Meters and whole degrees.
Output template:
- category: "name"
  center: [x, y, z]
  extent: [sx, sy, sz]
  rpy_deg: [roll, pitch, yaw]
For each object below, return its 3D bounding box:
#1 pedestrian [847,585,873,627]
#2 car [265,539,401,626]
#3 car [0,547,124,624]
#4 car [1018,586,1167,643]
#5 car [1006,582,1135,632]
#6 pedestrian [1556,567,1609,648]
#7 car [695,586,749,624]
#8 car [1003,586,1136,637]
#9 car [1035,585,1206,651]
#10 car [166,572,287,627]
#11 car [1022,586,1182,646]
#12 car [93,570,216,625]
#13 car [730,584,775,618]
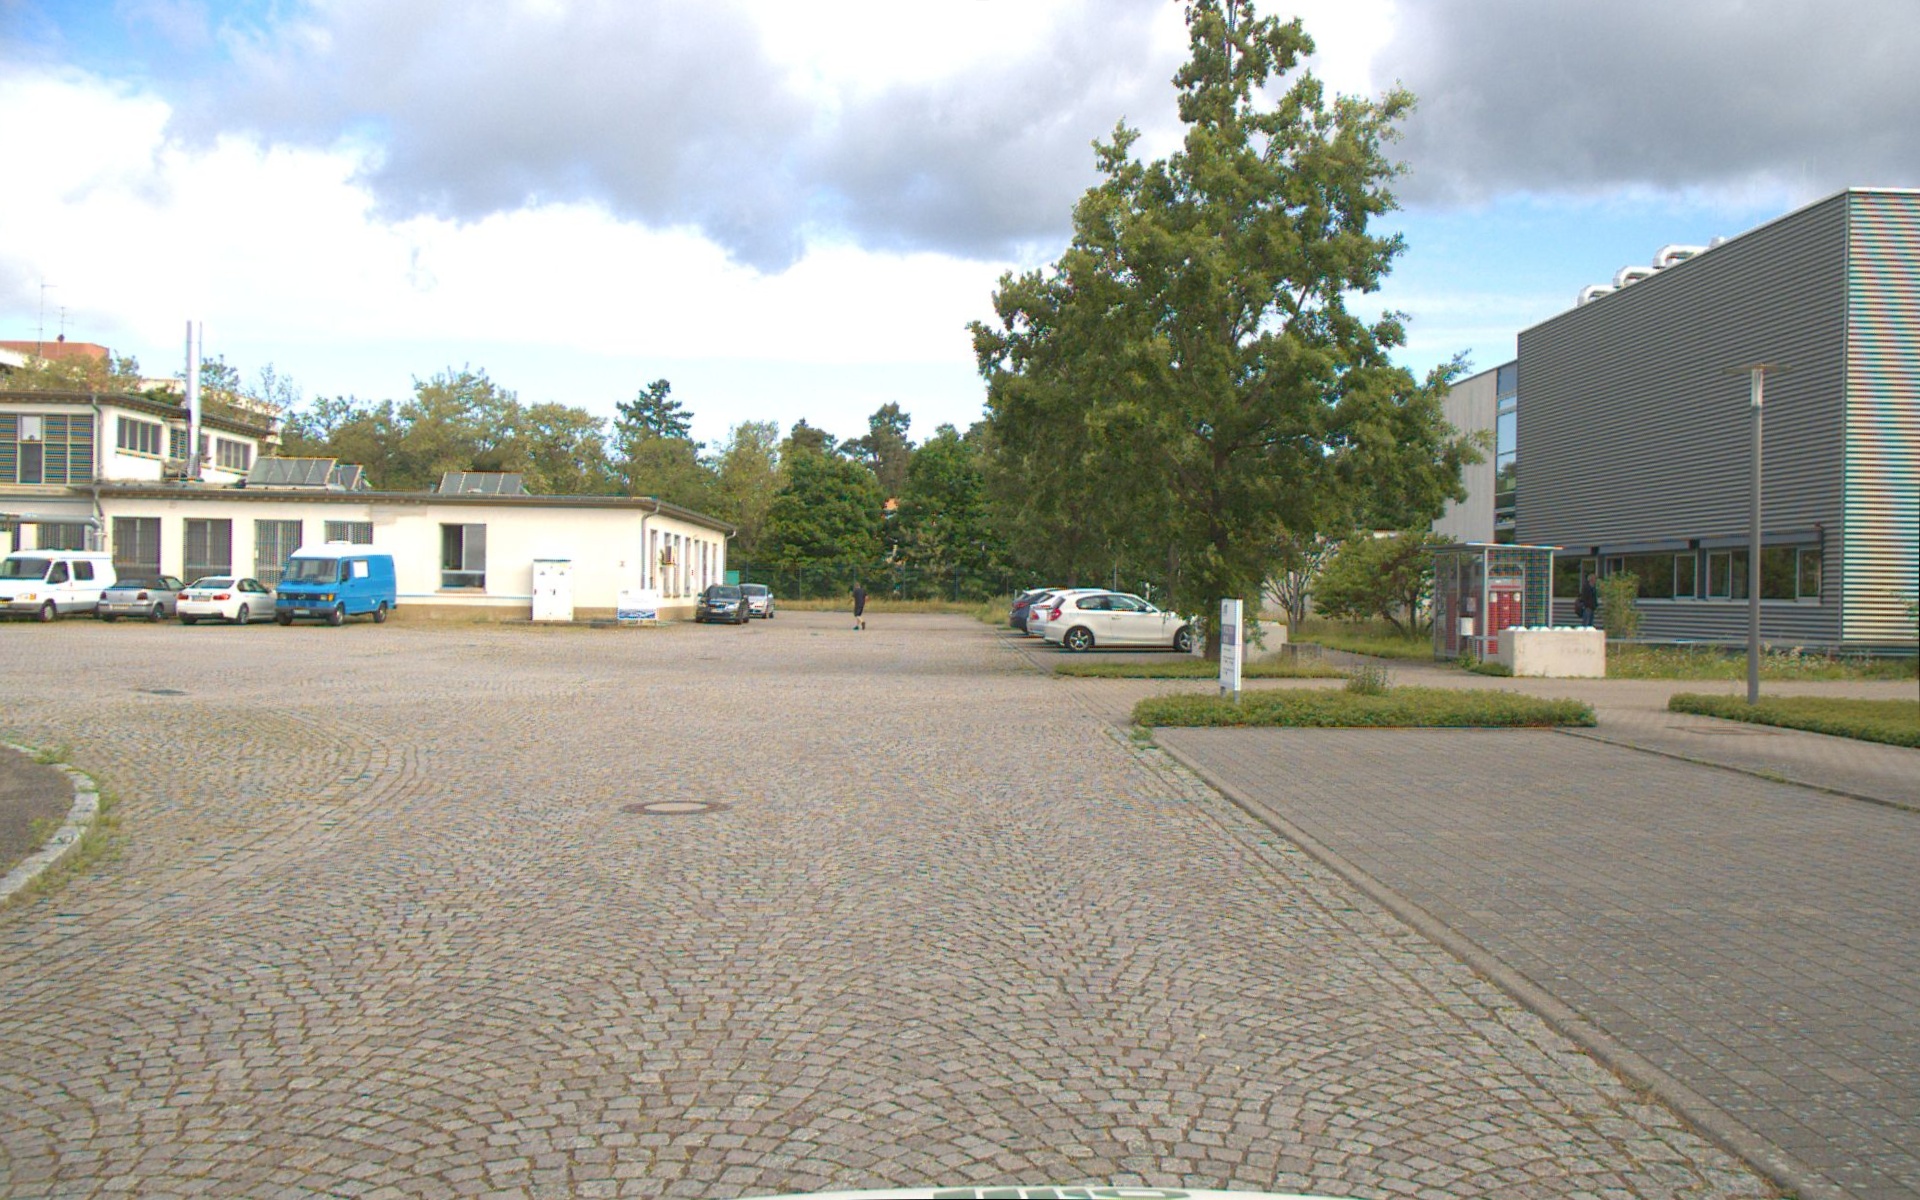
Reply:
- category: "pedestrian"
  center: [-3.793, 0.220, 62.675]
  extent: [0.921, 1.595, 0.971]
  rpy_deg: [0, 0, -2]
- category: "car"
  center: [-19.514, -0.534, 51.785]
  extent: [1.952, 2.567, 5.619]
  rpy_deg: [0, 0, 2]
- category: "car"
  center: [-27.870, -0.448, 50.778]
  extent: [1.861, 2.245, 4.783]
  rpy_deg: [0, 0, 1]
- category: "car"
  center: [3.574, 0.381, 45.240]
  extent: [3.906, 1.481, 1.769]
  rpy_deg: [0, 0, -1]
- category: "car"
  center: [3.530, 0.222, 53.359]
  extent: [3.909, 1.560, 1.998]
  rpy_deg: [0, 0, -5]
- category: "pedestrian"
  center: [15.344, 0.179, 40.764]
  extent: [0.908, 1.970, 0.846]
  rpy_deg: [1, 0, -32]
- category: "car"
  center: [-9.122, 0.179, 63.660]
  extent: [1.714, 1.388, 3.997]
  rpy_deg: [0, 0, -4]
- category: "car"
  center: [3.285, 0.327, 50.137]
  extent: [3.906, 1.481, 1.769]
  rpy_deg: [0, 0, -1]
- category: "car"
  center: [3.839, 0.433, 40.038]
  extent: [3.906, 1.481, 1.999]
  rpy_deg: [1, 0, -1]
- category: "car"
  center: [-22.295, -0.033, 50.433]
  extent: [1.862, 1.602, 4.000]
  rpy_deg: [0, 0, 0]
- category: "car"
  center: [3.588, 0.394, 42.200]
  extent: [3.906, 1.481, 1.697]
  rpy_deg: [0, 0, -1]
- category: "car"
  center: [-24.928, -0.084, 51.341]
  extent: [1.862, 1.602, 4.000]
  rpy_deg: [0, 0, 0]
- category: "car"
  center: [-9.243, 0.033, 73.890]
  extent: [1.714, 1.480, 3.997]
  rpy_deg: [0, 0, -4]
